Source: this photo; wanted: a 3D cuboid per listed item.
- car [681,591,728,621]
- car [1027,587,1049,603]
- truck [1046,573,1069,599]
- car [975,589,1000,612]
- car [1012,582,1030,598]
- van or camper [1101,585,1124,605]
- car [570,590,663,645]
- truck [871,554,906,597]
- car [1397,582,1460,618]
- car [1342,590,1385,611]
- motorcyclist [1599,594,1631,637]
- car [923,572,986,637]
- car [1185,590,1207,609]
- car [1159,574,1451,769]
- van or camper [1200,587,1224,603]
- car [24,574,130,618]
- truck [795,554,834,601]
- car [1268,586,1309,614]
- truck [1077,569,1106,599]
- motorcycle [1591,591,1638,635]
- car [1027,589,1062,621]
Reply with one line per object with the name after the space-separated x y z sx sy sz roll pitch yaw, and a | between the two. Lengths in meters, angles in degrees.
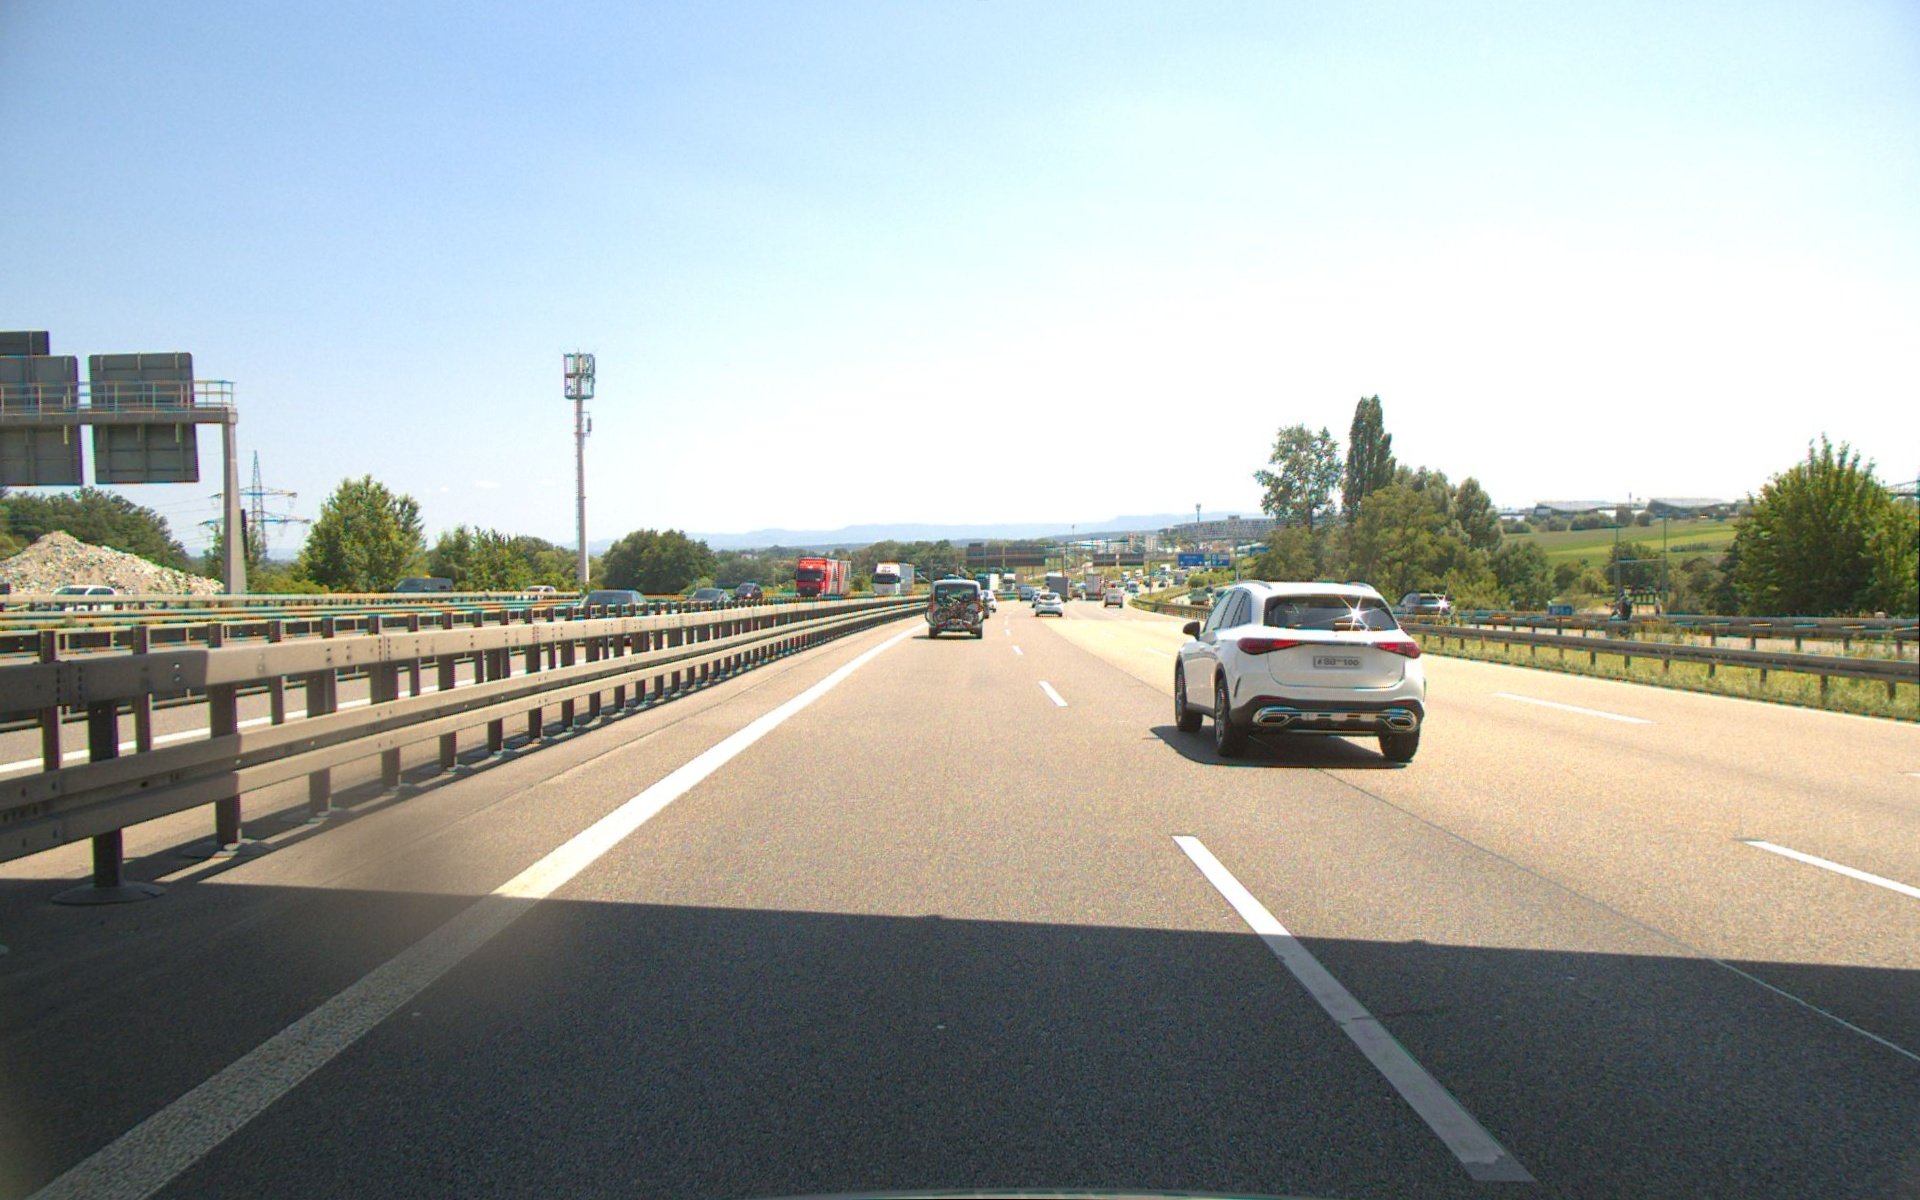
-13.048 0.303 84.693 1.624 1.489 4.445 2 0 0 | car
7.314 -0.460 154.121 1.940 1.499 4.002 0 0 4 | car
12.774 -1.789 216.466 2.645 3.163 10.665 1 0 5 | truck
1.983 0.016 117.181 1.543 1.579 3.966 1 0 4 | car
8.140 -1.275 218.840 2.140 2.038 4.003 1 0 5 | car
15.638 -0.508 169.917 2.111 2.049 4.306 1 0 3 | van or camper
-9.296 0.446 45.014 1.597 1.435 4.100 0 0 1 | car
-7.508 -2.601 175.273 2.866 4.420 6.919 1 0 4 | truck
21.718 0.006 76.767 1.665 1.602 4.127 1 0 -1 | car
26.332 0.008 108.073 1.665 1.299 3.998 1 0 -3 | car
21.411 0.489 54.061 0.655 1.390 0.878 1 0 -2 | motorcyclist
-0.164 0.133 53.222 1.887 1.952 4.948 1 0 0 | car
26.960 -0.047 189.108 1.952 2.049 4.001 1 0 1 | car
3.328 0.618 17.006 1.859 1.675 4.997 1 0 -1 | car
32.570 -0.682 213.575 2.476 2.049 4.461 1 0 1 | van or camper
-34.416 -0.152 64.596 1.952 1.646 4.000 0 0 1 | car
-13.487 -2.069 153.839 2.529 4.187 10.349 1 0 1 | truck
23.552 0.008 118.716 1.900 1.957 4.177 1 0 -3 | car
20.824 -2.616 261.182 3.953 4.335 11.769 1 3 8 | truck
21.399 0.422 54.118 0.744 1.390 1.869 1 0 -1 | motorcycle
5.265 0.282 103.515 1.887 1.952 4.517 1 0 -1 | car
